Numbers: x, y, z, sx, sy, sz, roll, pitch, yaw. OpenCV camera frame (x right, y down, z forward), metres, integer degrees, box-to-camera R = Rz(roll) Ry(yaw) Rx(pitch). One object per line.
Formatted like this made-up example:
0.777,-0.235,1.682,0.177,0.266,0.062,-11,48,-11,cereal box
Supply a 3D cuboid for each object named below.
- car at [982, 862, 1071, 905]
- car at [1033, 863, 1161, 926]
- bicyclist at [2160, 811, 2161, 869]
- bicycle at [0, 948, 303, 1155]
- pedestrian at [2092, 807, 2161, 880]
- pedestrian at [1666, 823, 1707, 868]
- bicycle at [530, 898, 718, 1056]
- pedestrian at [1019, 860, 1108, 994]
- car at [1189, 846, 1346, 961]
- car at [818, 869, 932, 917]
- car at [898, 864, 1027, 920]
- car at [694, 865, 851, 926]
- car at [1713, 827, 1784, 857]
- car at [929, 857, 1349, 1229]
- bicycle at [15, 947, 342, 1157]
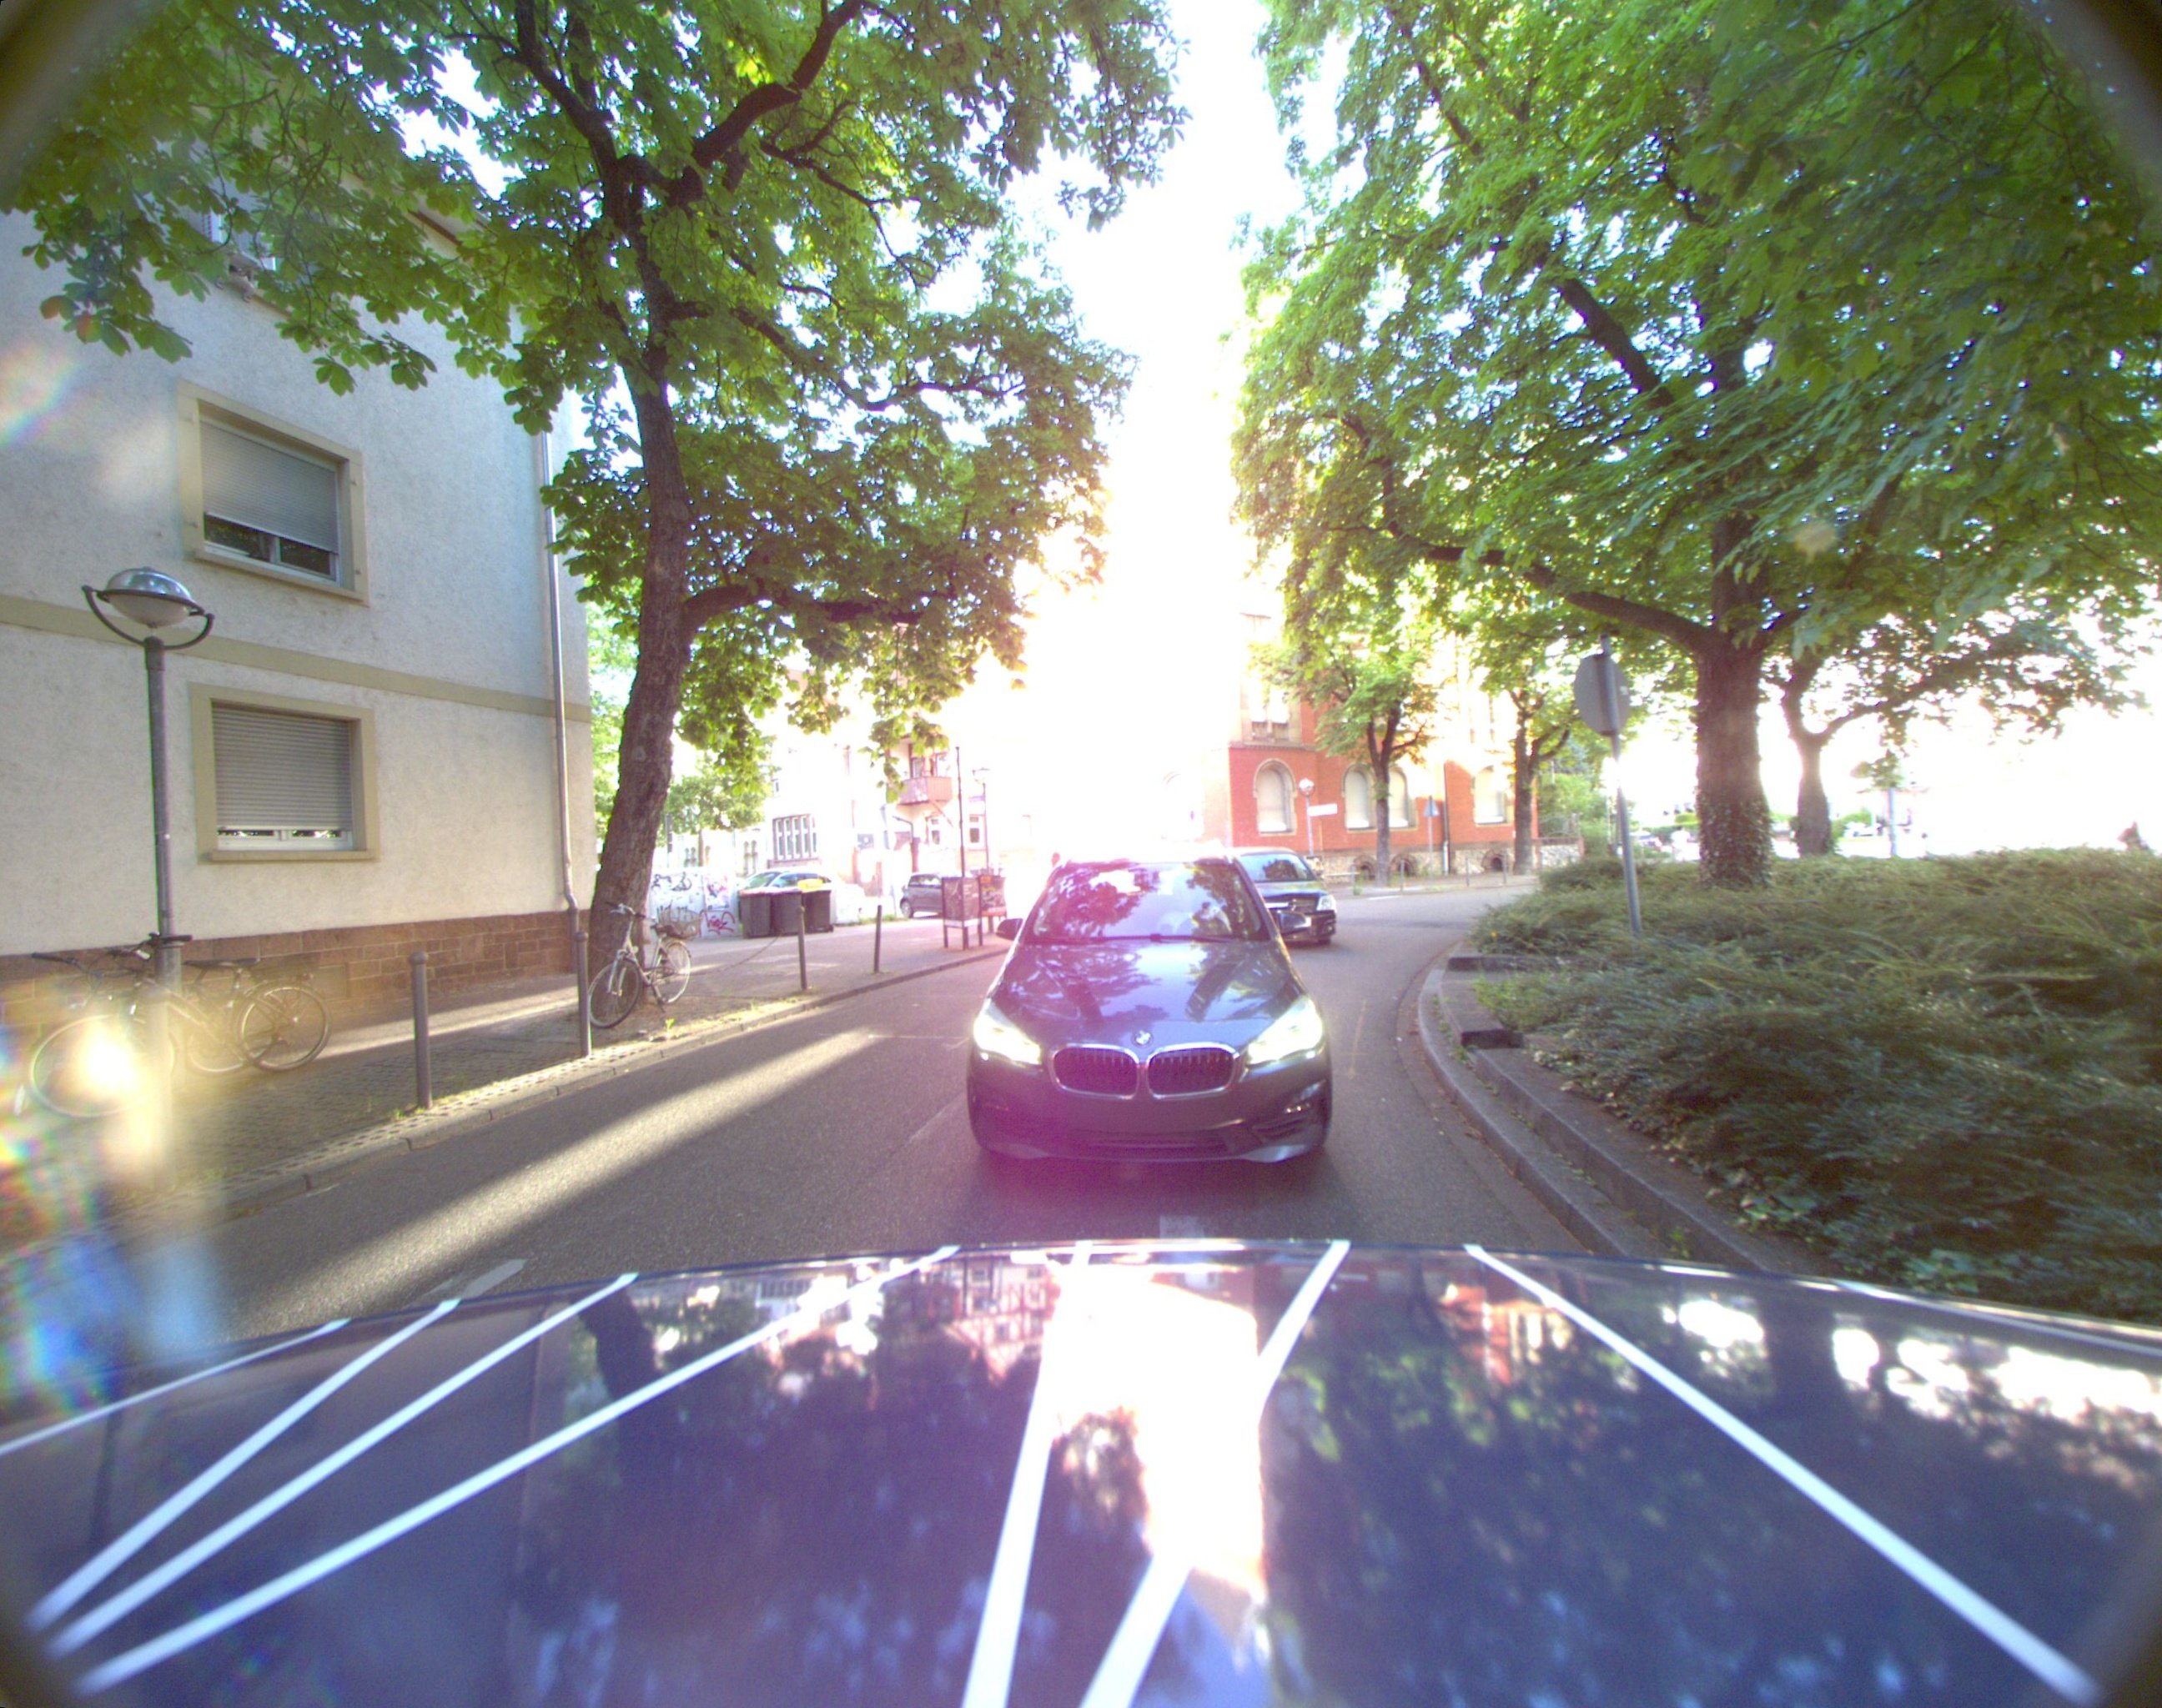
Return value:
-2.107,1.125,29.092,3.207,1.530,1.495,-2,0,38,car
0.352,1.039,19.831,1.475,1.381,3.393,-5,1,-36,car
29.336,-0.375,20.152,0.597,1.564,0.556,-3,0,20,bicyclist
-6.751,1.337,5.564,0.334,1.087,1.636,-3,0,1,bicycle
24.668,-0.241,17.866,0.905,1.625,0.725,-5,0,-15,pedestrian
23.592,-0.323,29.609,0.905,1.625,0.725,-5,0,-13,pedestrian
-4.601,1.168,7.850,0.767,1.297,1.903,-3,0,-1,bicycle
-0.204,0.897,9.572,0.944,1.583,0.643,-3,0,8,pedestrian
3.047,0.744,13.179,1.679,1.619,3.687,-3,0,-1,car
-7.467,1.402,27.364,4.175,1.543,1.809,-3,-1,39,car
-3.801,1.211,24.083,4.041,1.543,1.700,-3,0,40,car
-8.805,1.147,21.935,1.672,1.417,3.811,-3,0,36,car
35.111,-0.646,40.092,1.733,1.409,4.006,-3,0,25,car
0.463,0.857,5.474,1.792,1.569,4.262,-2,0,6,car
-6.366,1.323,5.509,0.334,1.087,1.636,-3,0,1,bicycle
